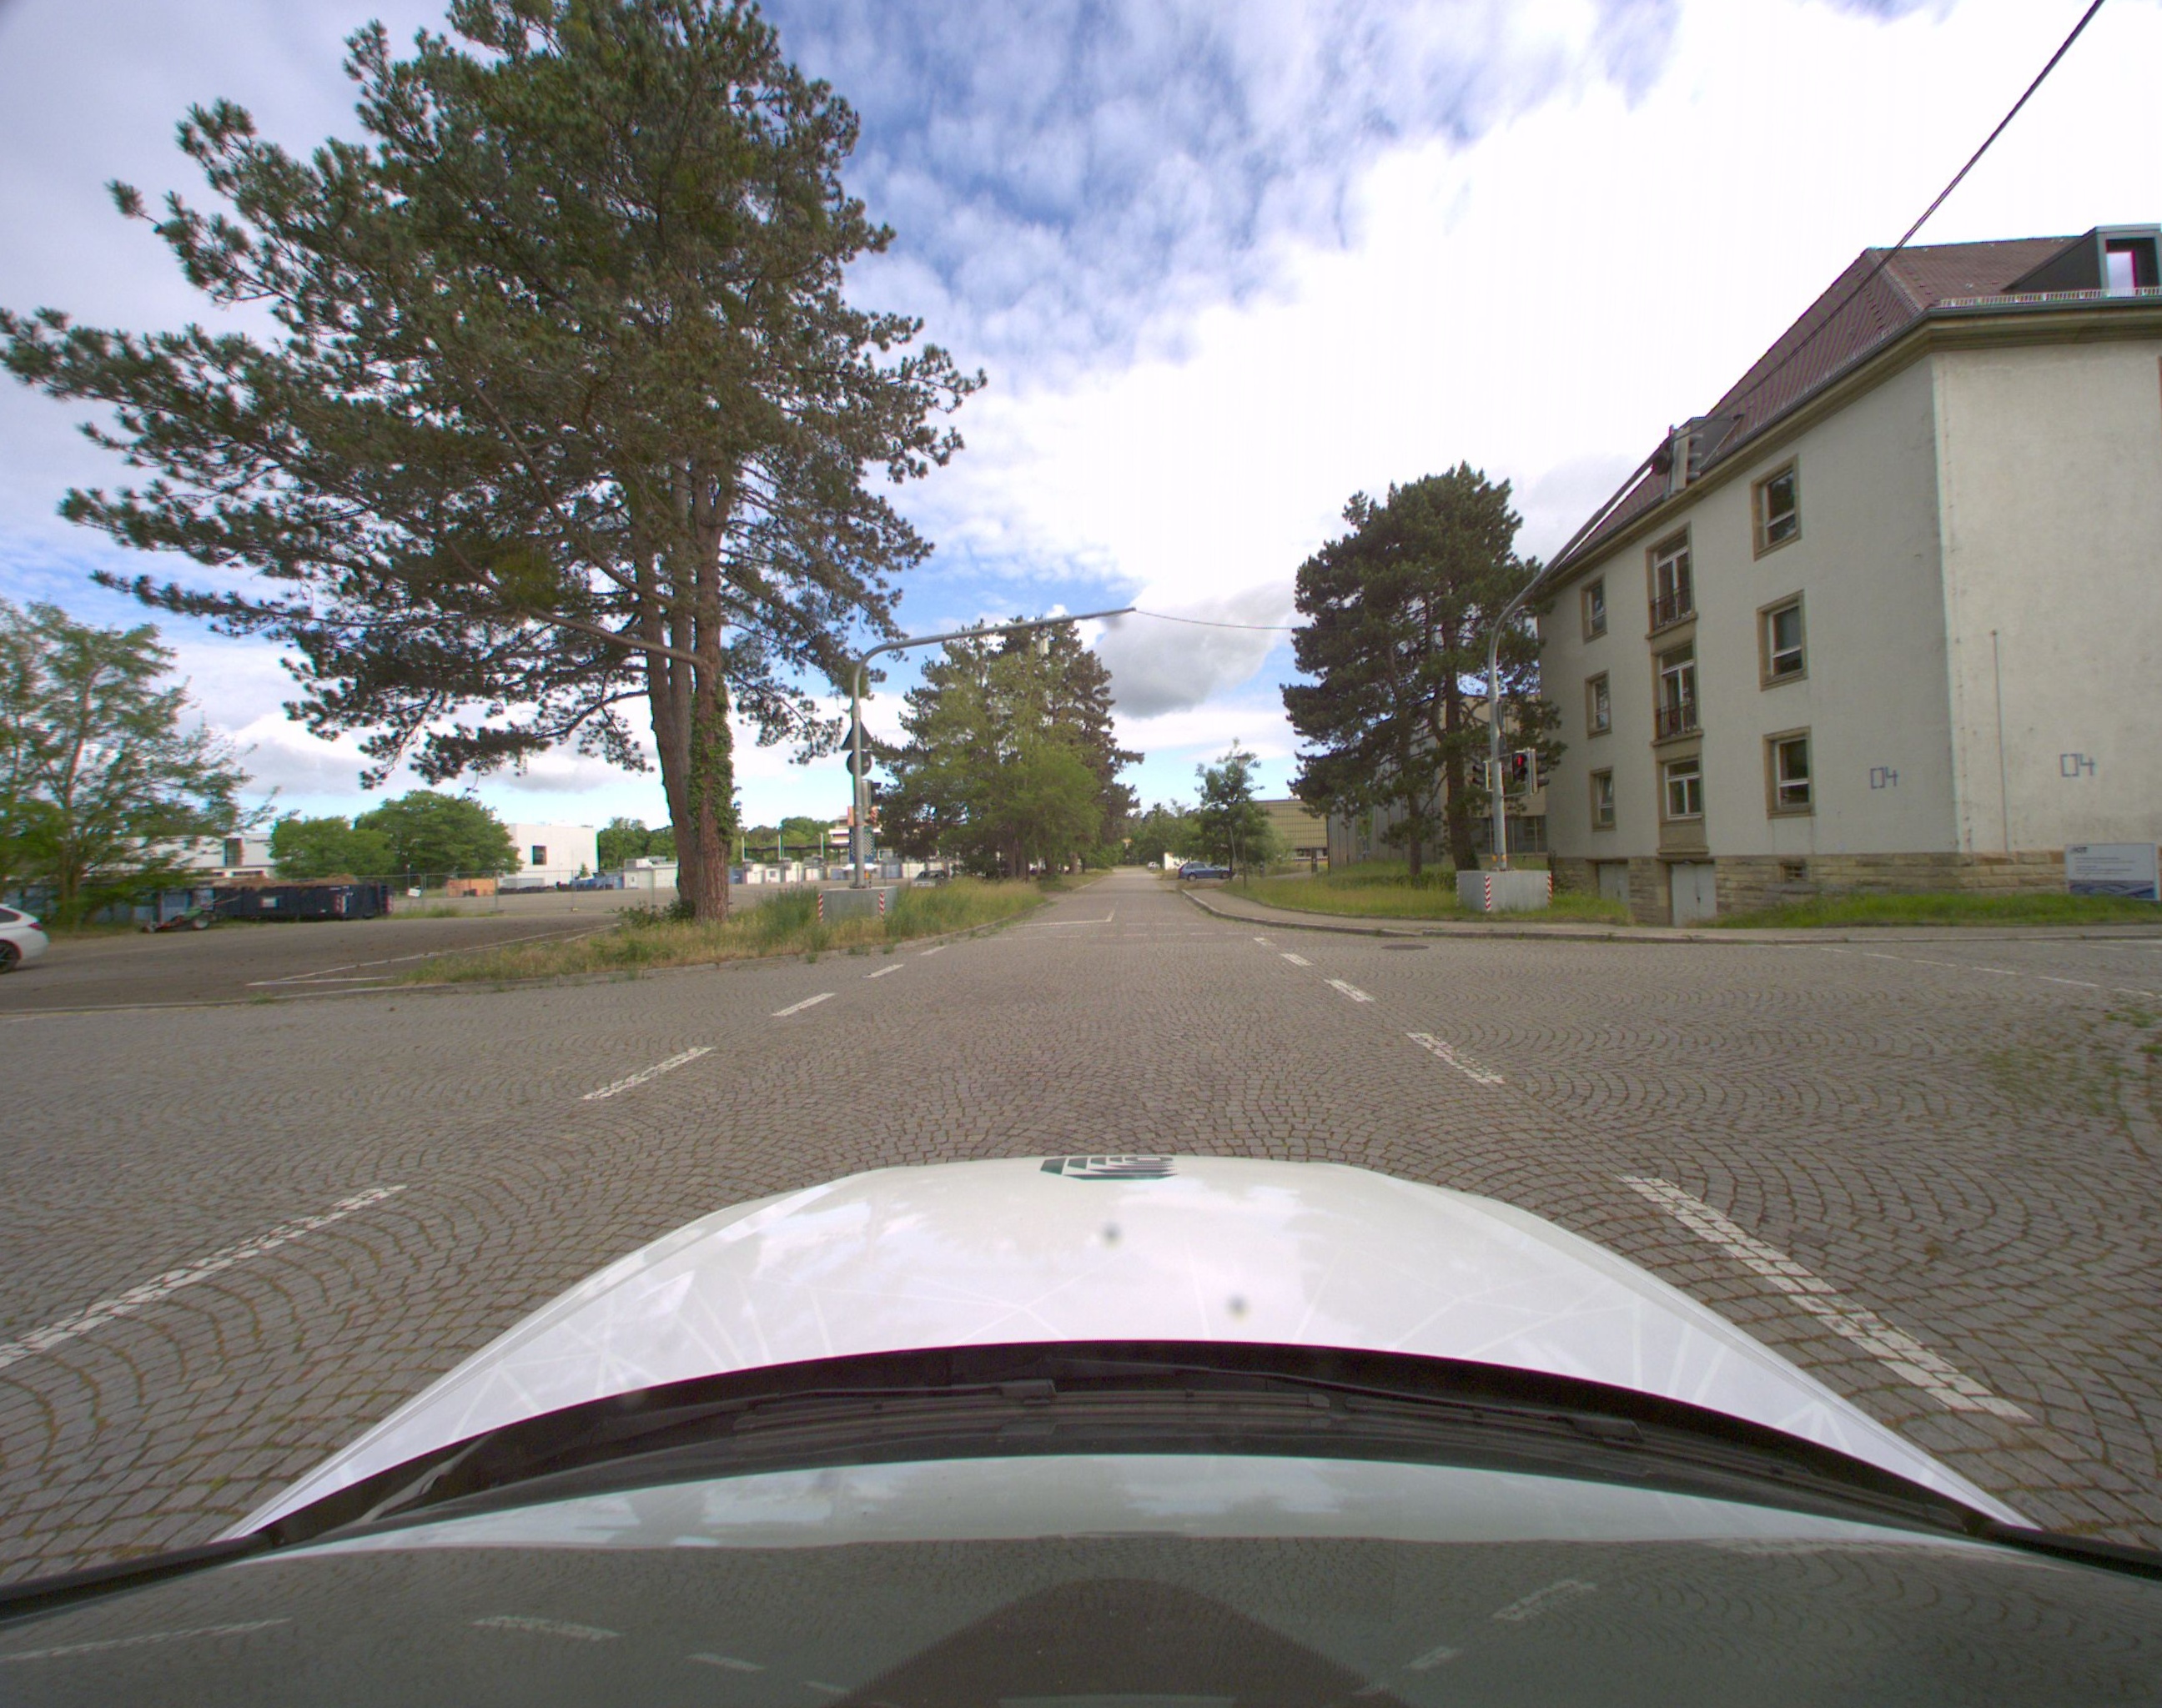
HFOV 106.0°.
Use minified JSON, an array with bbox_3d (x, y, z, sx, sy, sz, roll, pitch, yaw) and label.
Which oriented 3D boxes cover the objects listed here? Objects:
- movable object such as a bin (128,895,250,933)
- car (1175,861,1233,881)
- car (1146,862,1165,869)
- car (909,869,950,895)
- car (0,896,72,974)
[{"bbox_3d":[-30.029,1.995,27.502,1.174,1.048,2.657,-2,-1,-1],"label":"movable object such as a bin"},{"bbox_3d":[9.840,1.368,65.269,4.328,1.422,2.001,-2,-1,1],"label":"car"},{"bbox_3d":[16.704,2.554,182.247,3.977,1.398,1.998,-2,-1,-2],"label":"car"},{"bbox_3d":[-9.506,1.721,51.389,1.606,1.487,4.004,-2,-1,4],"label":"car"},{"bbox_3d":[-21.944,1.668,14.553,1.803,1.441,4.742,-2,1,1],"label":"car"}]
